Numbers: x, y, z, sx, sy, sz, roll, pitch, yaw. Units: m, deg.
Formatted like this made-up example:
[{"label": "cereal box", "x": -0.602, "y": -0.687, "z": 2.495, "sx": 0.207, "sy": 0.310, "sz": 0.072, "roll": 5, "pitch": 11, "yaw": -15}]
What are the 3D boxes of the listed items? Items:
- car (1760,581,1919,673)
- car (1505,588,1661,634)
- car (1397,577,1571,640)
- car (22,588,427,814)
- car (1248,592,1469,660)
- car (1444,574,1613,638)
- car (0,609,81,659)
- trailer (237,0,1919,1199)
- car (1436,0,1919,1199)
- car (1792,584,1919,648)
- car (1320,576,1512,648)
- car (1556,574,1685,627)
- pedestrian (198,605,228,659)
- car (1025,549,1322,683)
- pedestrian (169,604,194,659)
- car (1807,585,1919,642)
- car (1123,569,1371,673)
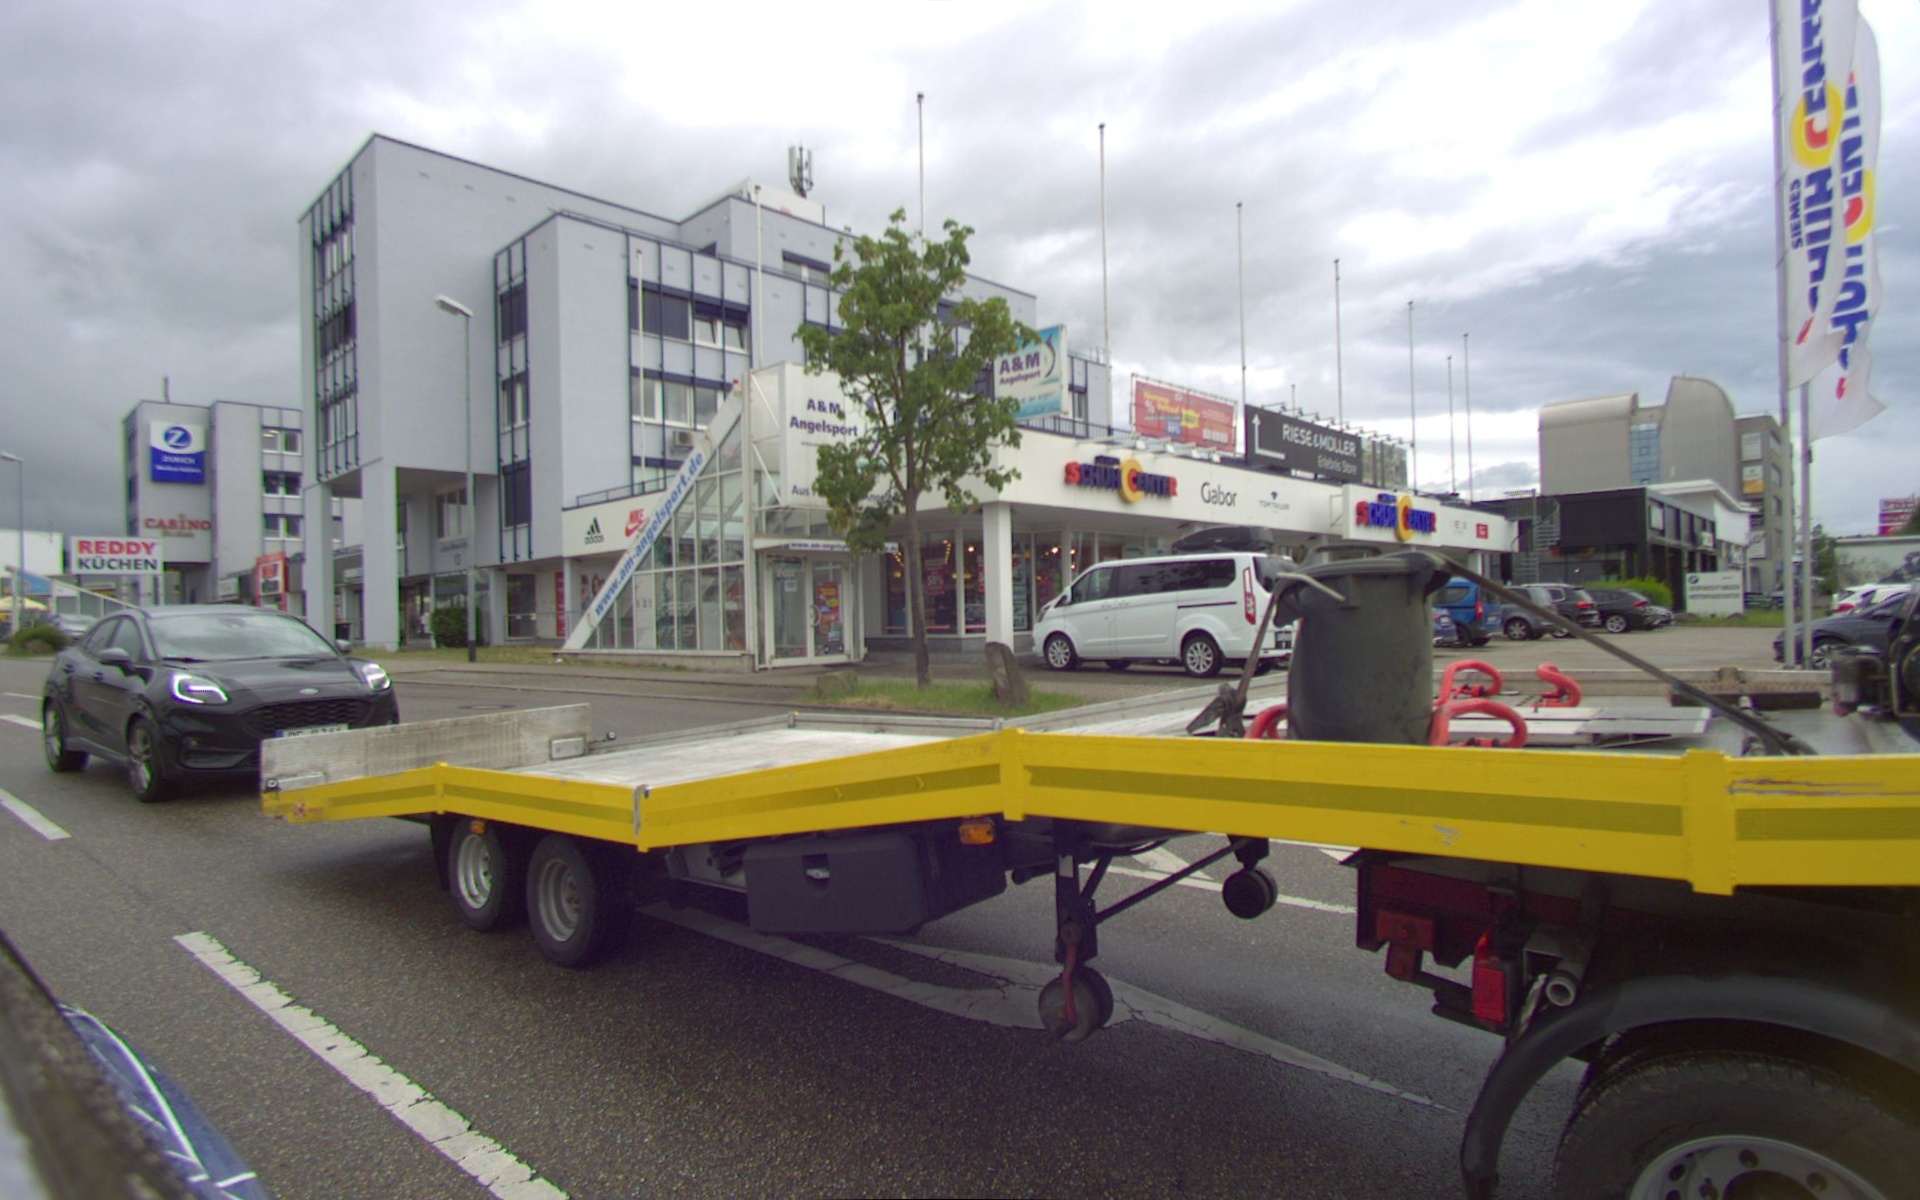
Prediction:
[{"label": "car", "x": 15.407, "y": 0.417, "z": 15.957, "sx": 1.795, "sy": 1.404, "sz": 4.132, "roll": 0, "pitch": -1, "yaw": -42}, {"label": "car", "x": 21.889, "y": 0.395, "z": 35.655, "sx": 4.377, "sy": 1.509, "sz": 1.869, "roll": -1, "pitch": -1, "yaw": 44}, {"label": "car", "x": 15.927, "y": 0.268, "z": 30.899, "sx": 4.377, "sy": 1.777, "sz": 1.869, "roll": -1, "pitch": -1, "yaw": 44}, {"label": "car", "x": -6.630, "y": 0.730, "z": 8.989, "sx": 3.993, "sy": 1.552, "sz": 1.792, "roll": -1, "pitch": 0, "yaw": 37}, {"label": "car", "x": 9.067, "y": 0.566, "z": 23.267, "sx": 4.377, "sy": 1.404, "sz": 1.797, "roll": -1, "pitch": -1, "yaw": 44}, {"label": "car", "x": 18.109, "y": 0.200, "z": 32.386, "sx": 4.377, "sy": 1.920, "sz": 1.869, "roll": -1, "pitch": -1, "yaw": 44}, {"label": "car", "x": -32.735, "y": 1.221, "z": 35.916, "sx": 3.998, "sy": 1.622, "sz": 1.799, "roll": -2, "pitch": -1, "yaw": 41}, {"label": "trailer", "x": -0.408, "y": 0.160, "z": 4.240, "sx": 7.963, "sy": 2.493, "sz": 2.280, "roll": 0, "pitch": -1, "yaw": 39}, {"label": "car", "x": 3.457, "y": 0.090, "z": 1.044, "sx": 5.010, "sy": 2.493, "sz": 2.217, "roll": 0, "pitch": -1, "yaw": 39}, {"label": "car", "x": 21.581, "y": 0.352, "z": 22.898, "sx": 4.128, "sy": 1.404, "sz": 1.872, "roll": -1, "pitch": -1, "yaw": 44}, {"label": "car", "x": 12.296, "y": 0.323, "z": 27.477, "sx": 4.377, "sy": 1.777, "sz": 1.869, "roll": -1, "pitch": -1, "yaw": 44}, {"label": "car", "x": 26.551, "y": 0.056, "z": 40.777, "sx": 1.882, "sy": 2.029, "sz": 4.004, "roll": 0, "pitch": -1, "yaw": -43}, {"label": "pedestrian", "x": -24.931, "y": 1.059, "z": 33.766, "sx": 0.634, "sy": 1.756, "sz": 0.590, "roll": -1, "pitch": 0, "yaw": -17}, {"label": "car", "x": 3.562, "y": 0.272, "z": 17.633, "sx": 1.970, "sy": 2.029, "sz": 4.791, "roll": 1, "pitch": -1, "yaw": -44}, {"label": "pedestrian", "x": -25.024, "y": 1.006, "z": 32.519, "sx": 0.519, "sy": 1.720, "sz": 0.543, "roll": -1, "pitch": 0, "yaw": 43}, {"label": "car", "x": 24.275, "y": 0.324, "z": 25.687, "sx": 4.128, "sy": 1.404, "sz": 1.797, "roll": -1, "pitch": -1, "yaw": 44}, {"label": "car", "x": 5.586, "y": 0.389, "z": 20.077, "sx": 4.377, "sy": 1.834, "sz": 1.869, "roll": -1, "pitch": -1, "yaw": 44}]
